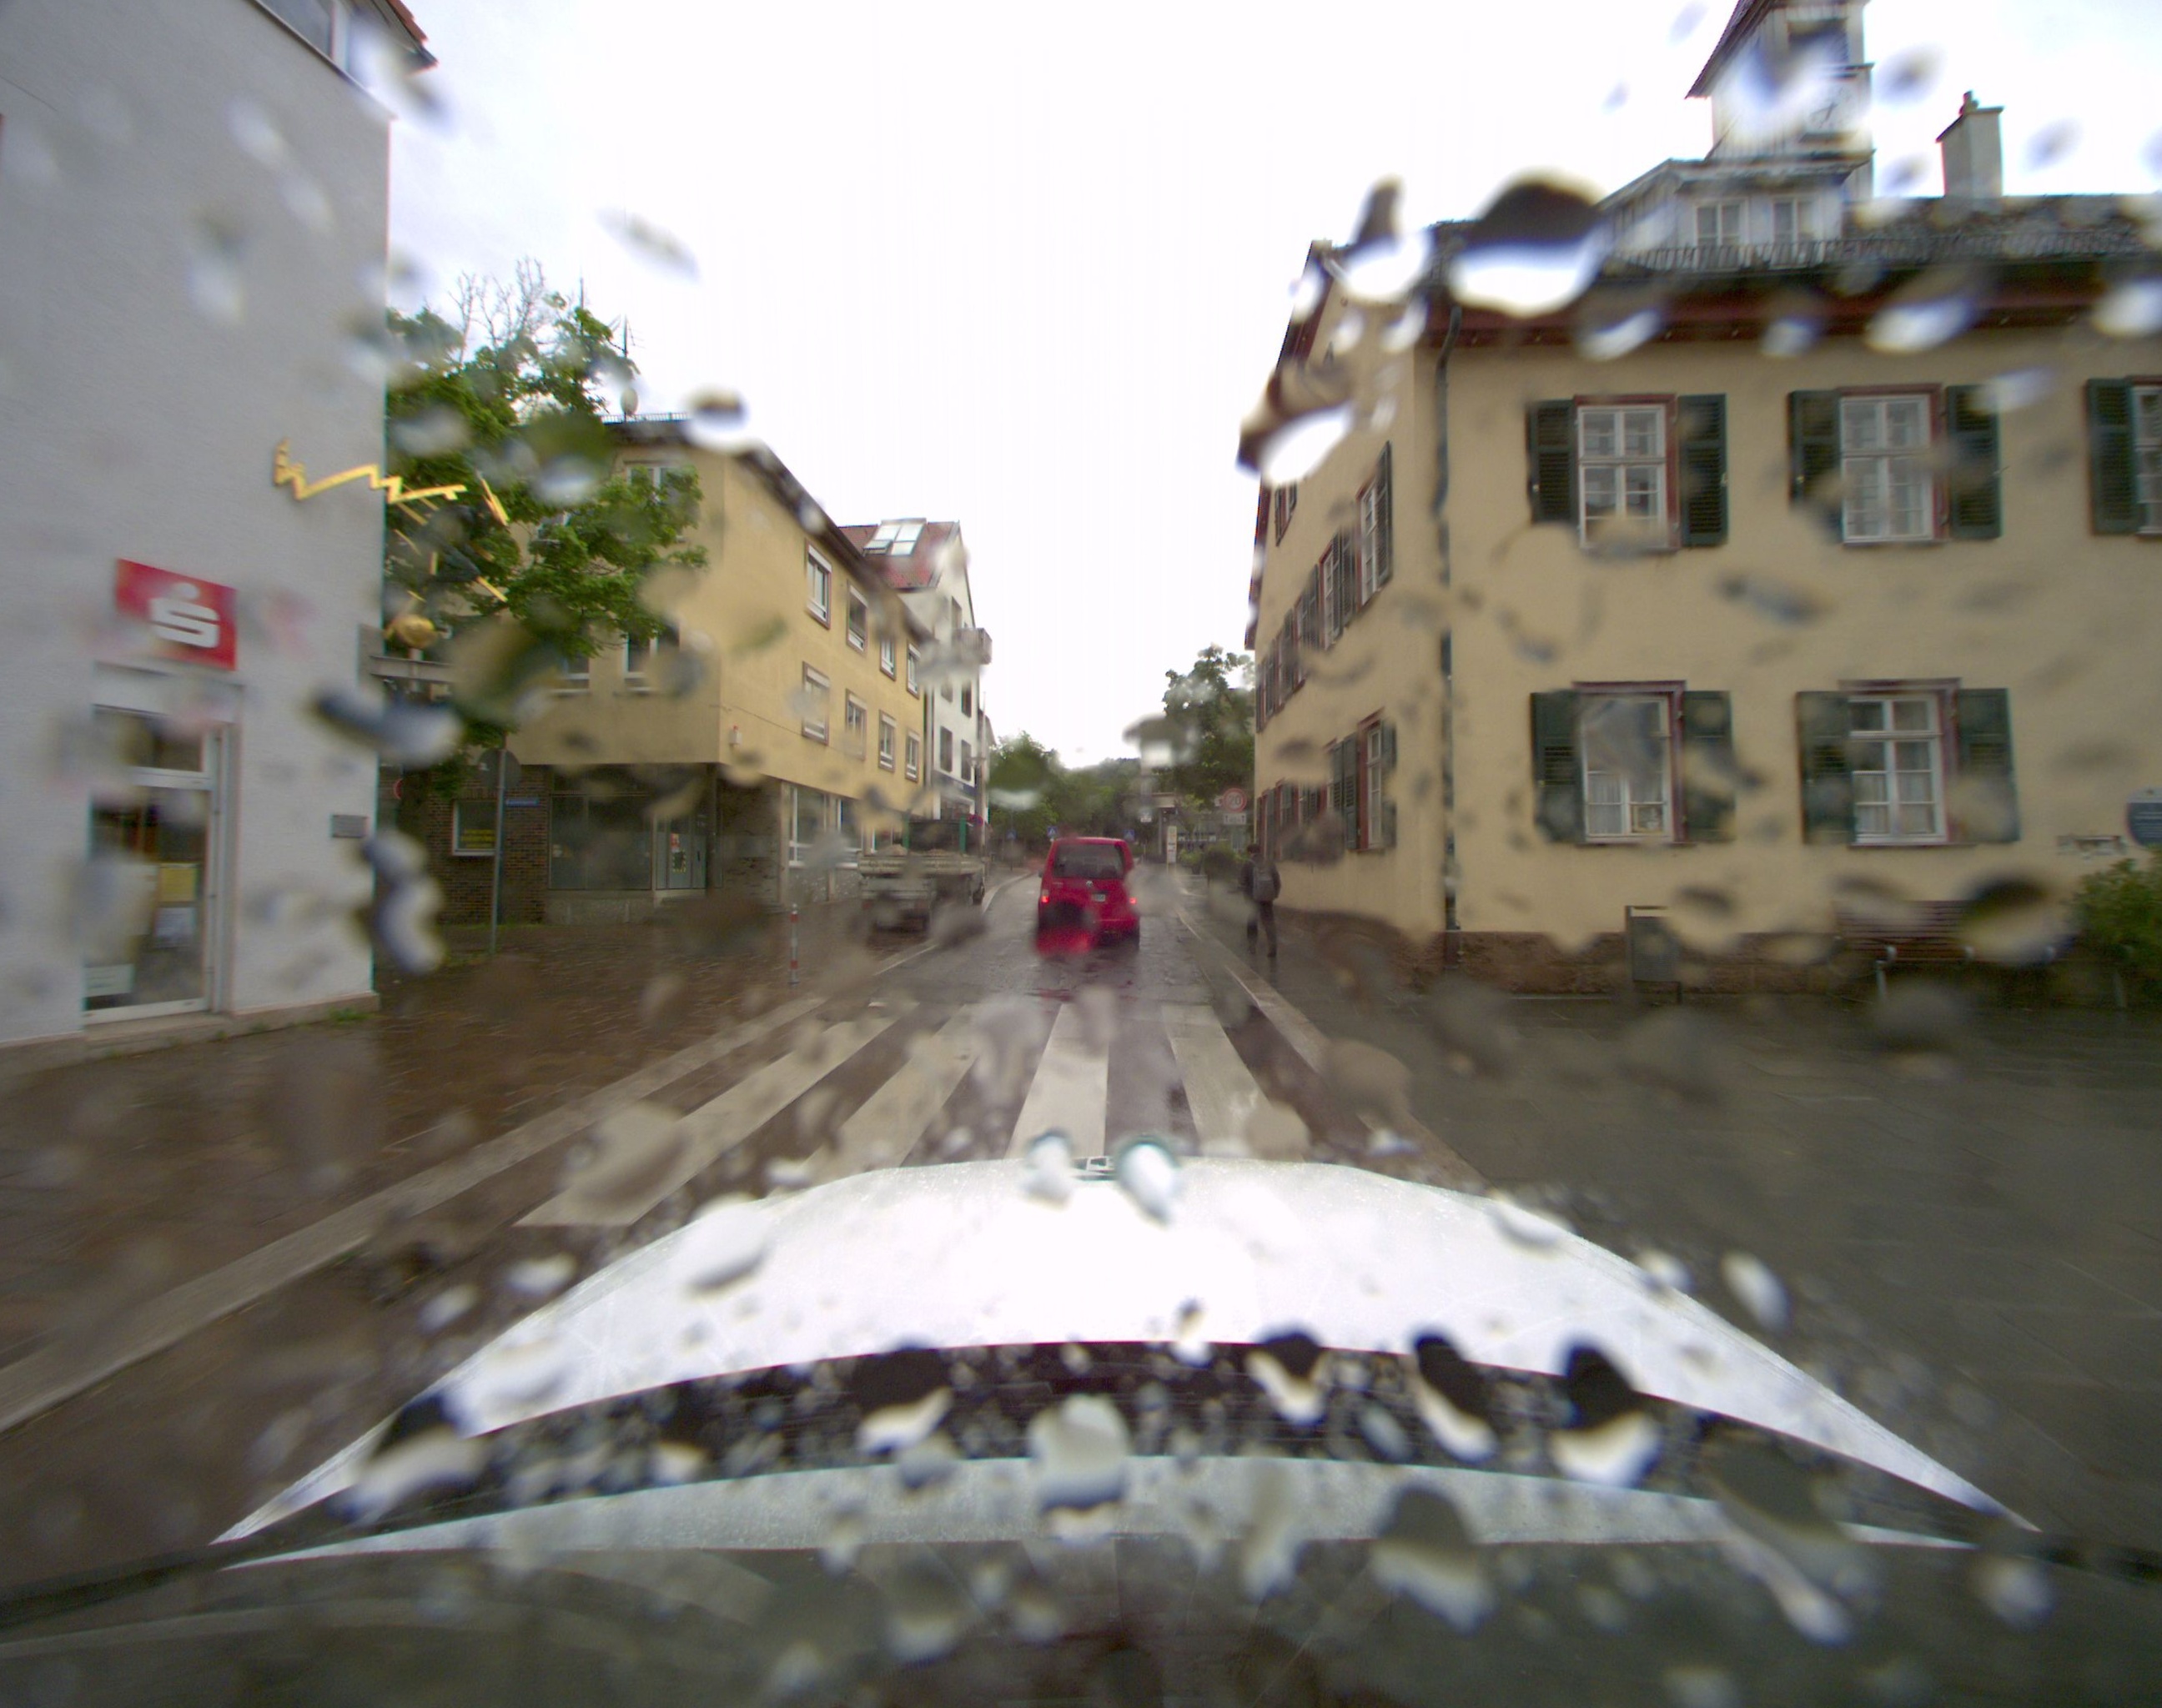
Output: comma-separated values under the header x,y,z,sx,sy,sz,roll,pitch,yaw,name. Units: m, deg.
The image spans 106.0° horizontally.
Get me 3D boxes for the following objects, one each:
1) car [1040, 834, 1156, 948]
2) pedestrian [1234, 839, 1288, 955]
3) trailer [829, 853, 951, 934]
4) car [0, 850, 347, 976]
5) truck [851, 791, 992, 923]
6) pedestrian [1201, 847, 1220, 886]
x,y,z,sx,sy,sz,roll,pitch,yaw,name
0.254,0.598,15.192,1.856,1.830,4.183,0,0,-1,car
2.707,0.624,12.310,0.710,1.693,0.870,-1,0,7,pedestrian
-3.626,0.701,16.002,1.723,1.346,3.158,-1,1,-2,trailer
-13.057,0.767,11.585,3.958,1.564,1.973,-1,0,14,car
-3.785,0.003,20.858,2.467,2.795,6.595,-1,1,-2,truck
5.510,0.520,34.727,0.724,1.617,0.695,-1,-1,5,pedestrian
